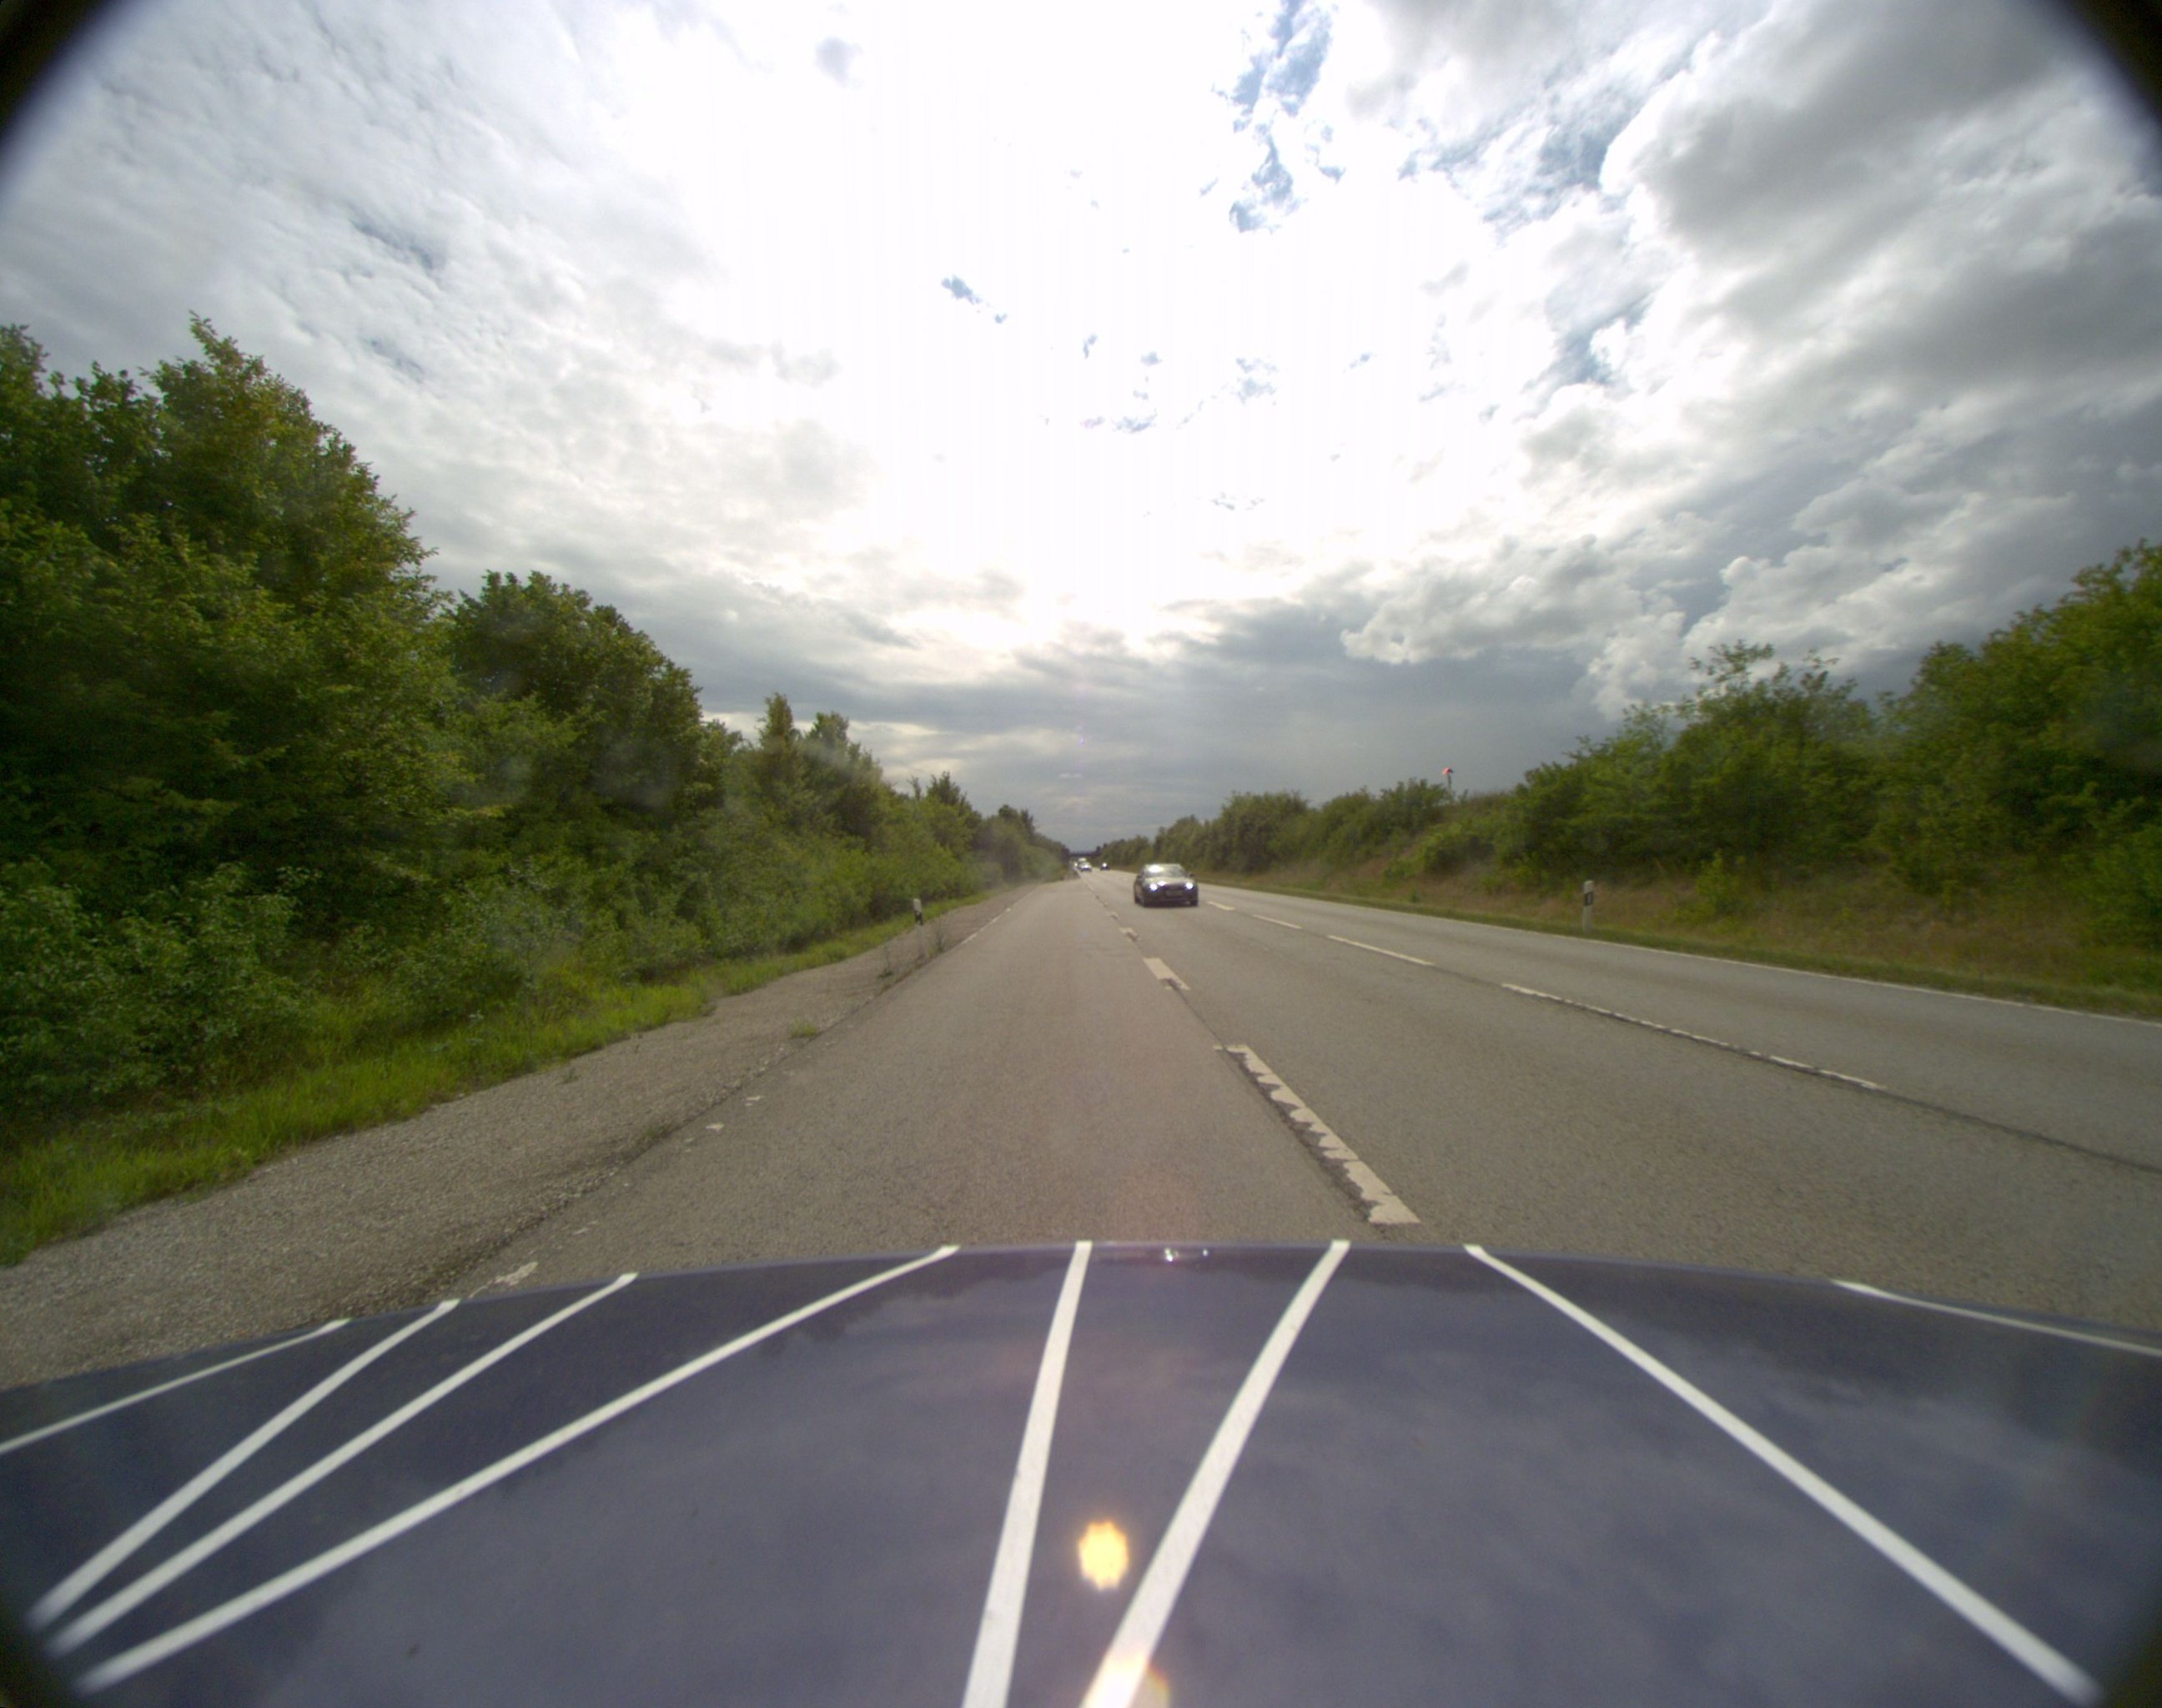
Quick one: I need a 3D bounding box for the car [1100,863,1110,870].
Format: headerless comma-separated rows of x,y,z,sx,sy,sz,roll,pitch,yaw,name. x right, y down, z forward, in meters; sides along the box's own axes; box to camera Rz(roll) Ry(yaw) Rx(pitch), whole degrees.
4.751,2.434,152.105,1.705,1.322,4.000,-1,0,-1,car

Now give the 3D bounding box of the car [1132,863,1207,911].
3.046,1.103,27.112,1.999,1.436,4.641,-3,0,-1,car

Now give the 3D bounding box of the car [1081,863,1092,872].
0.970,2.389,134.814,1.870,1.597,4.000,-2,0,-1,car

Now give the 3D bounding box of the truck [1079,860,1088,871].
0.509,2.680,175.741,1.802,2.518,6.685,-3,0,-1,truck
